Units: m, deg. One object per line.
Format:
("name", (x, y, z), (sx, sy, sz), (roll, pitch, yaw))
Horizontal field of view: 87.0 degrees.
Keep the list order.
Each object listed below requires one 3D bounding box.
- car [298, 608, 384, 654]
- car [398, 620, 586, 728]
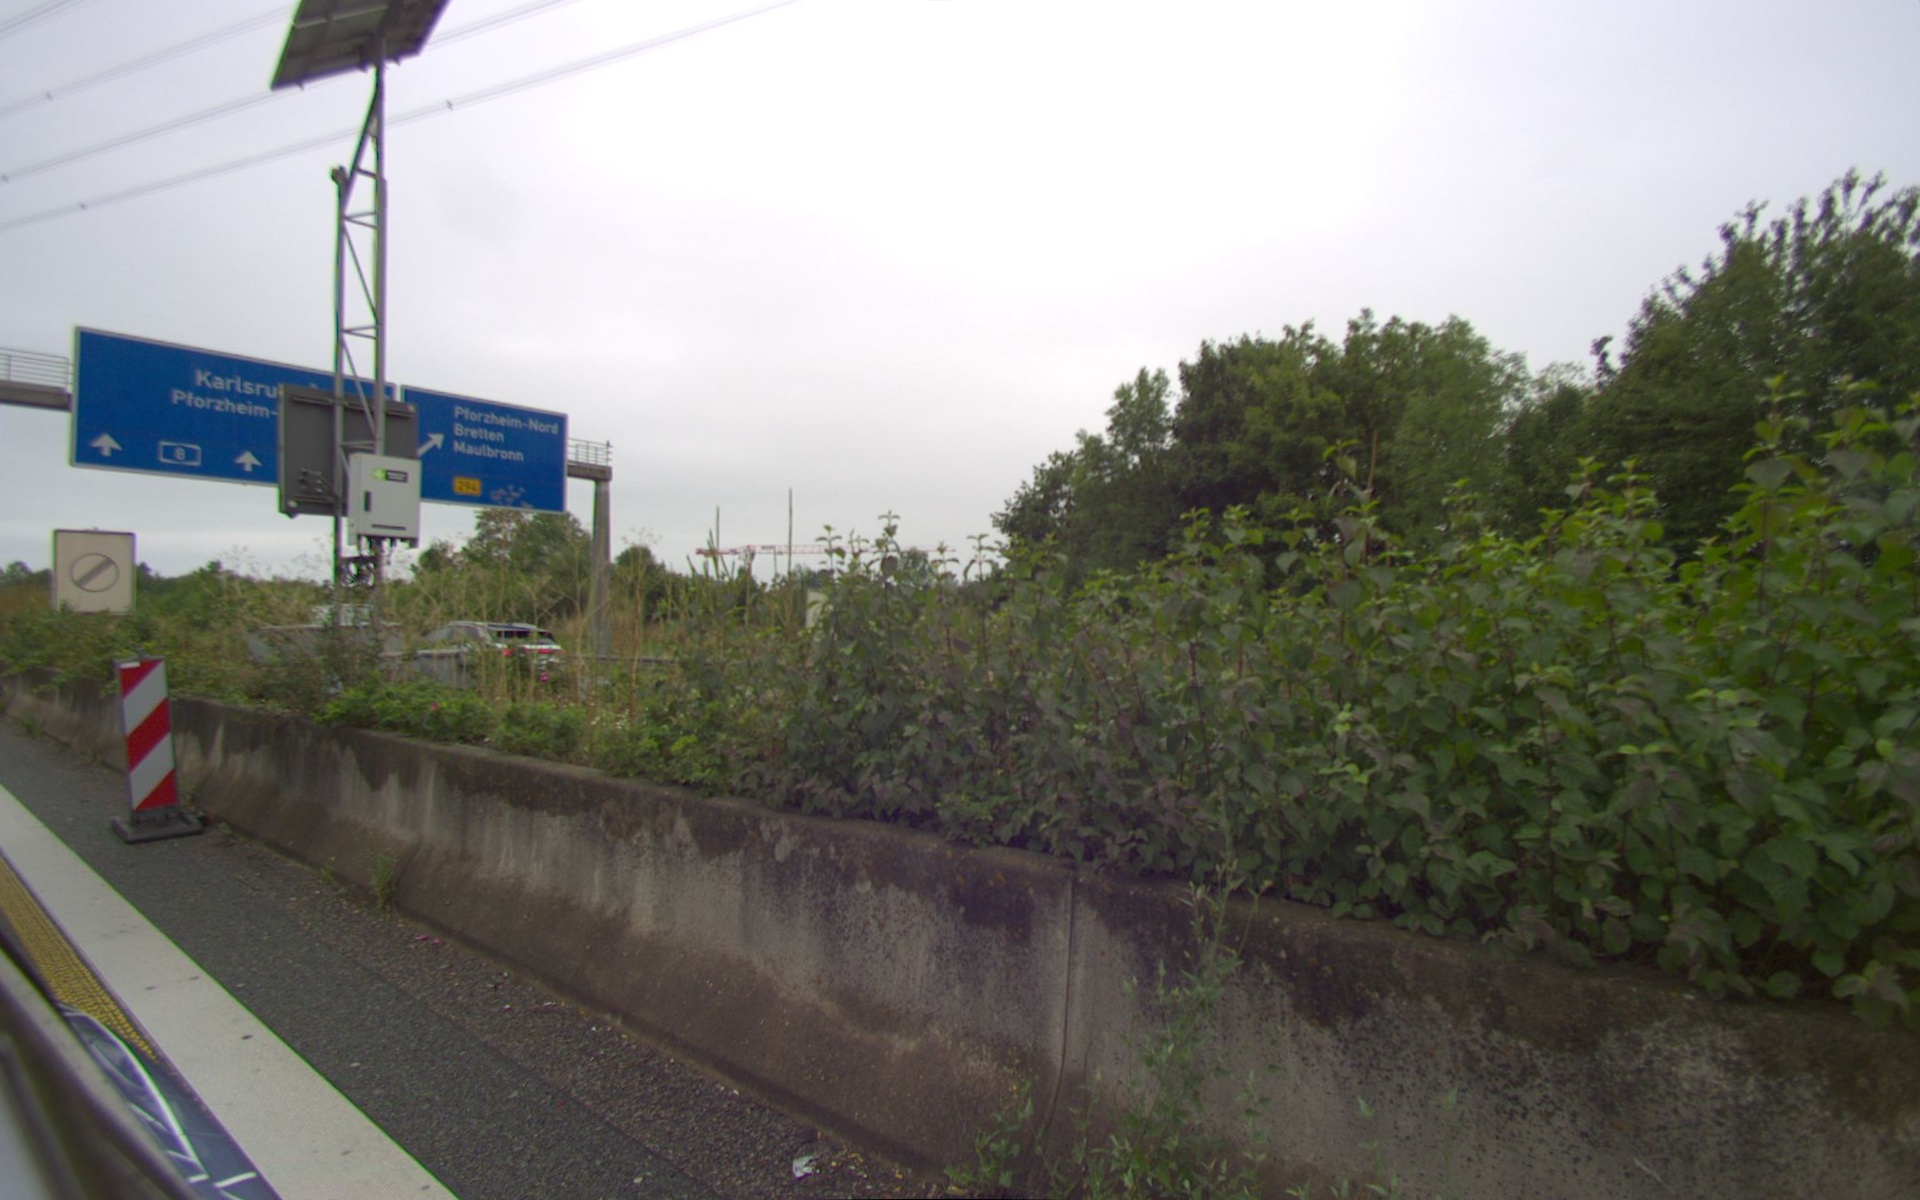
("car", (-28.495, 1.402, 46.516), (5.057, 2.029, 1.973), (-1, -1, 41))
("car", (-9.484, 1.405, 20.390), (3.998, 1.945, 1.973), (-2, -3, 41))
